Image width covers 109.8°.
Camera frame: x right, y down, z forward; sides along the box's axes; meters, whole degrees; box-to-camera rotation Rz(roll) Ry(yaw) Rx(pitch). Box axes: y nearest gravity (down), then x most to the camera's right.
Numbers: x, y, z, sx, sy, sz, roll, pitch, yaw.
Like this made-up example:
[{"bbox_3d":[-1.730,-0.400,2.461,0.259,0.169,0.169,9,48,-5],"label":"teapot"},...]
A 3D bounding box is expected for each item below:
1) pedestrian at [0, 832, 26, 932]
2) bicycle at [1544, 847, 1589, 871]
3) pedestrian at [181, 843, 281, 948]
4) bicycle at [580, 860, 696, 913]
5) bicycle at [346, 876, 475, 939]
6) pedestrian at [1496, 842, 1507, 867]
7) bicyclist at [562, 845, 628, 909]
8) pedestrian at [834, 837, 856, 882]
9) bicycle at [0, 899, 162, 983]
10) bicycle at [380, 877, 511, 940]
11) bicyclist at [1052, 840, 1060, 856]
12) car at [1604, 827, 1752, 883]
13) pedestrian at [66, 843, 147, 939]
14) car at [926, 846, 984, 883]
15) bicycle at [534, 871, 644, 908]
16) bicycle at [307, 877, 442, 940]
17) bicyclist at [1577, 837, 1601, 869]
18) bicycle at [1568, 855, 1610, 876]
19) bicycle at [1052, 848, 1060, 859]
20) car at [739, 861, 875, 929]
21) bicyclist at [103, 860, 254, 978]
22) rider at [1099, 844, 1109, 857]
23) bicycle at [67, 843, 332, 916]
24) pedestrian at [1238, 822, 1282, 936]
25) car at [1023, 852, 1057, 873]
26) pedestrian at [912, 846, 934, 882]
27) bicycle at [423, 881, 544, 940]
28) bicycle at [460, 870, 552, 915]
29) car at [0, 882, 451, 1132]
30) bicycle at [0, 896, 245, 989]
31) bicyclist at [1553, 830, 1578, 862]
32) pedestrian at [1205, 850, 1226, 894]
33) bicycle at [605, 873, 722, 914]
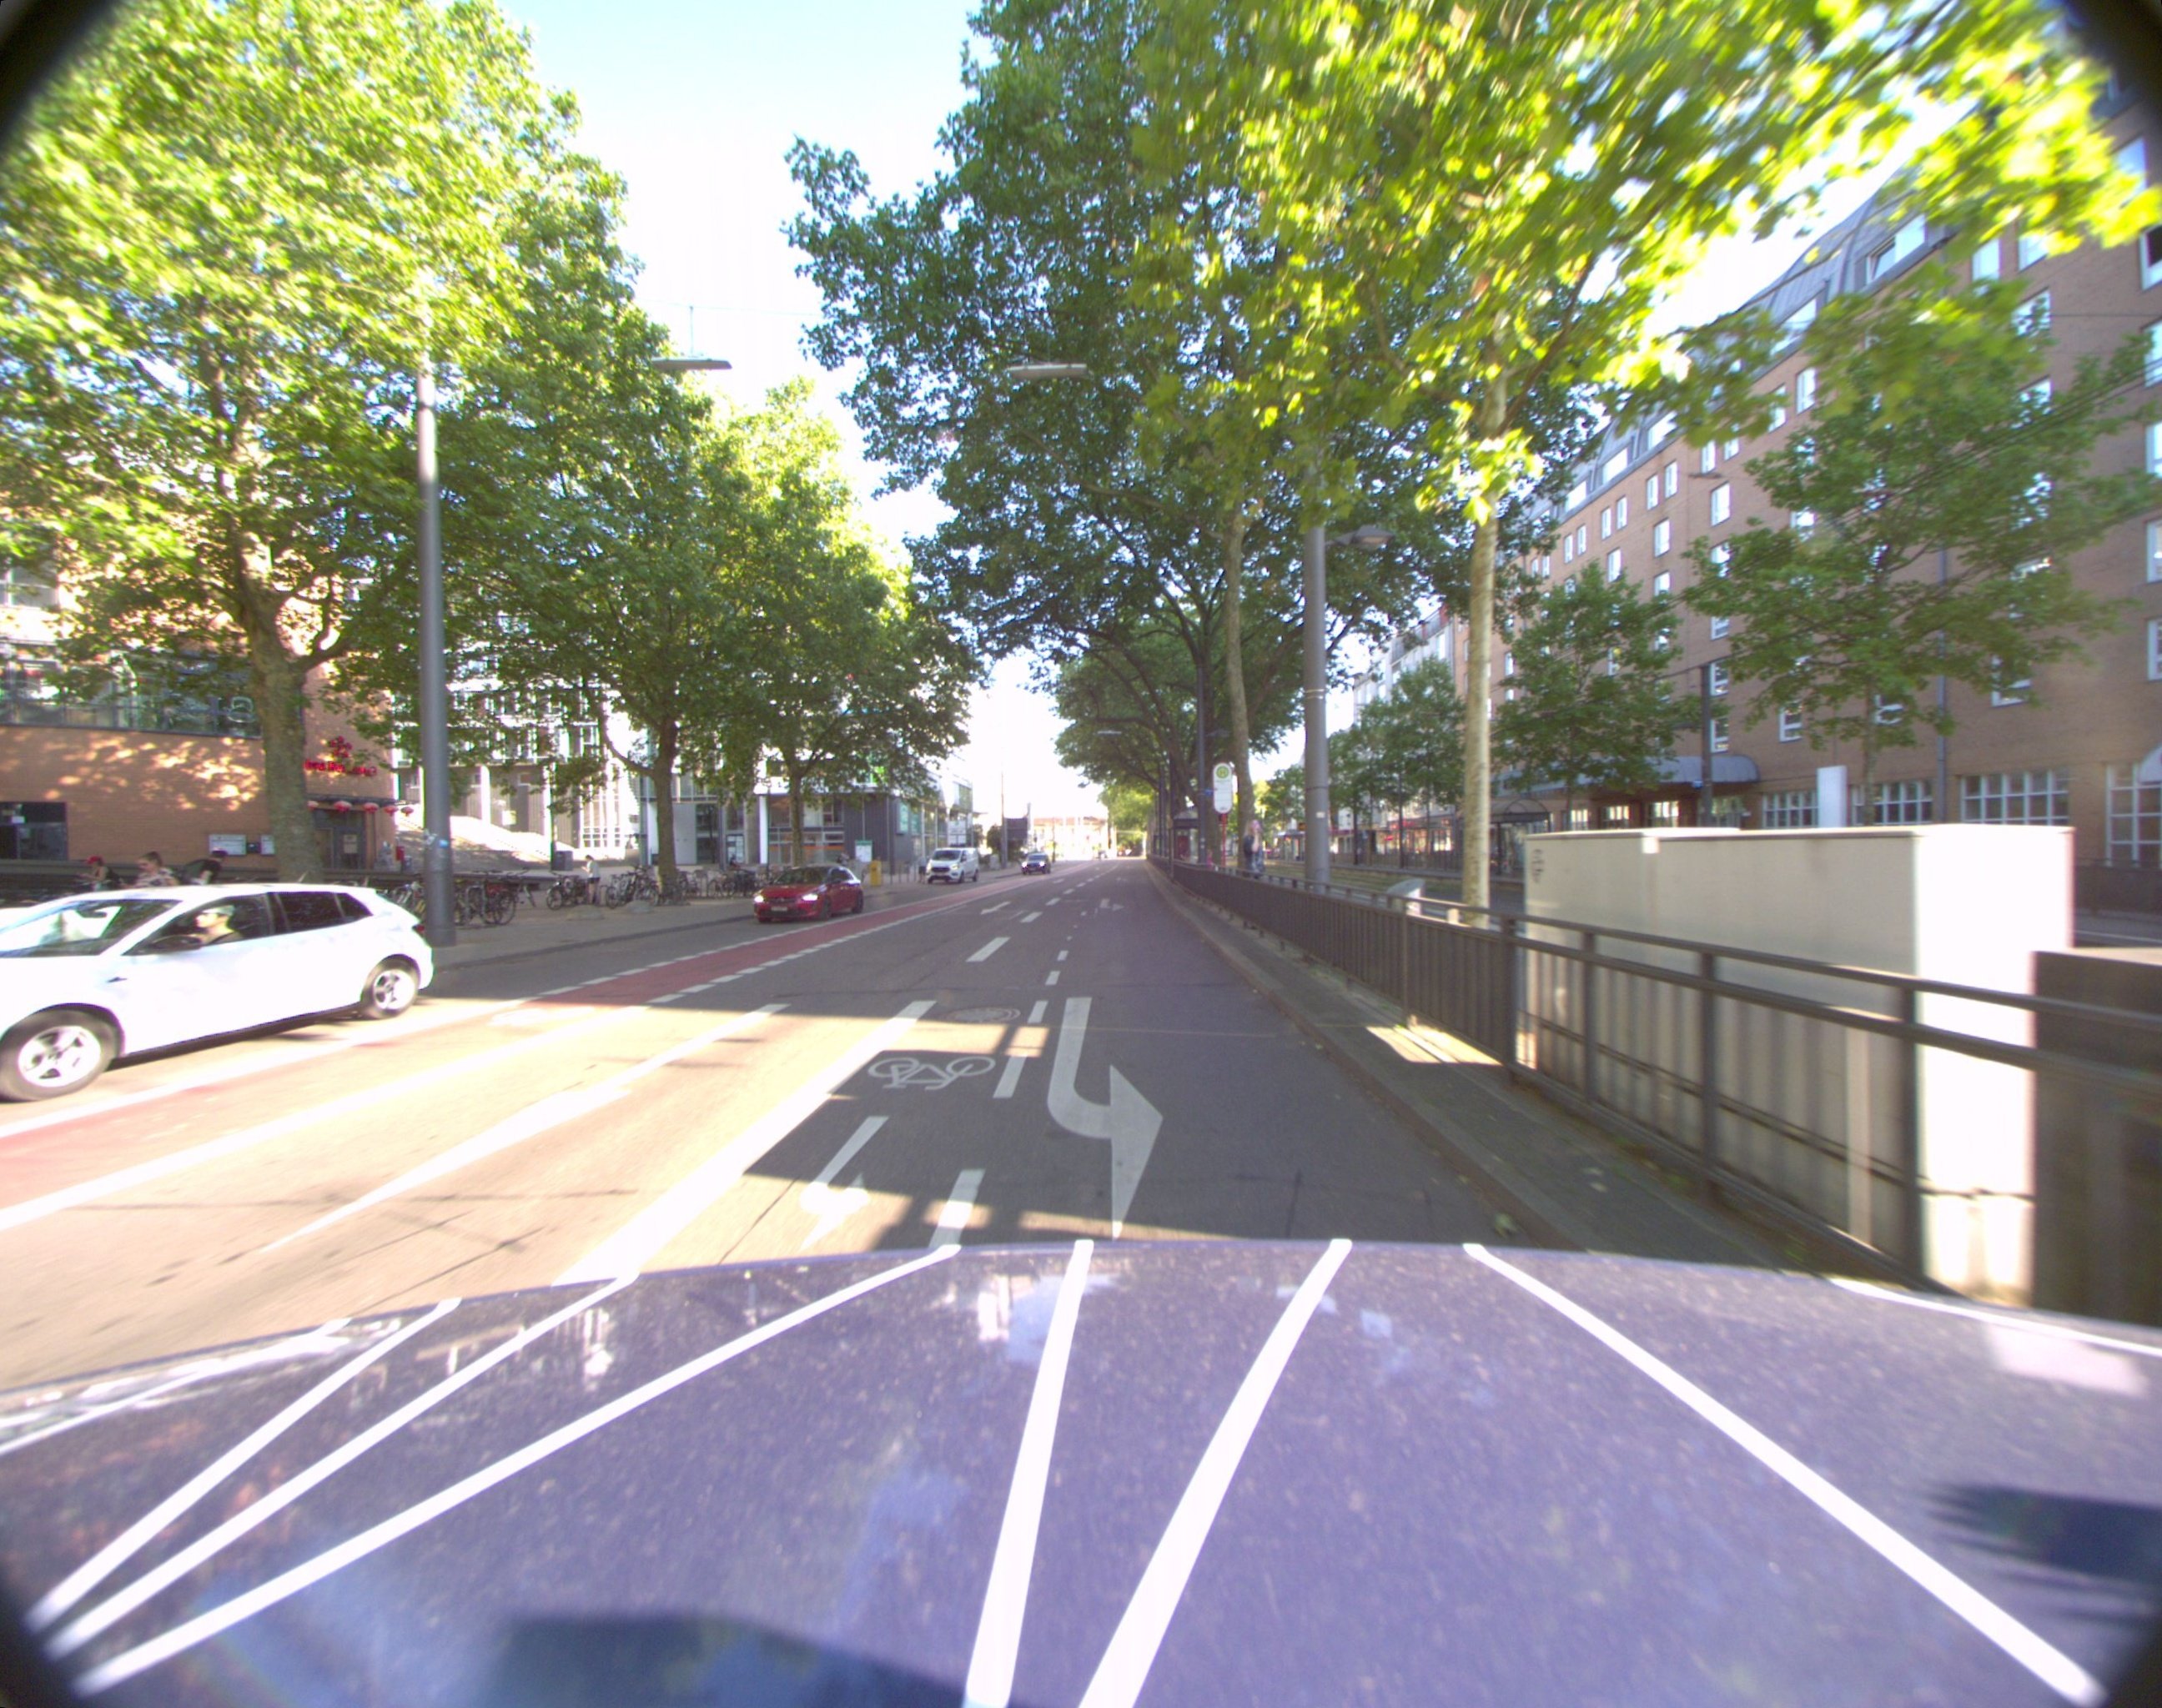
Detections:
[{"bbox_3d":[-24.789,0.649,17.004,1.048,2.235,1.221,-1,2,38],"label":"pedestrian"},{"bbox_3d":[23.838,0.259,37.379,0.687,1.135,2.110,-1,-1,-6],"label":"bicycle"},{"bbox_3d":[-16.966,0.786,15.205,0.934,2.002,1.091,-1,1,-25],"label":"pedestrian"},{"bbox_3d":[-13.886,0.963,23.975,0.892,1.476,3.228,-1,1,22],"label":"bicycle"},{"bbox_3d":[-14.697,1.138,16.763,0.671,1.155,2.305,-2,1,3],"label":"bicycle"},{"bbox_3d":[29.784,0.051,53.808,0.504,1.725,0.574,-1,1,3],"label":"pedestrian"},{"bbox_3d":[-15.823,0.729,24.755,1.296,2.002,1.158,-1,2,18],"label":"bicyclist"},{"bbox_3d":[-14.251,0.344,45.866,0.981,2.633,0.900,-3,2,-31],"label":"pedestrian"},{"bbox_3d":[-15.620,1.284,10.747,1.050,0.996,3.411,3,1,1],"label":"bicycle"},{"bbox_3d":[-13.924,1.149,16.775,0.751,1.155,2.397,-2,1,2],"label":"bicycle"},{"bbox_3d":[-3.309,-0.754,98.787,0.959,2.002,0.938,-2,2,-2],"label":"bicyclist"},{"bbox_3d":[20.653,0.008,26.523,1.873,1.752,3.998,-2,1,-3],"label":"car"},{"bbox_3d":[-23.313,0.871,18.190,0.842,2.220,0.905,-2,2,23],"label":"pedestrian"},{"bbox_3d":[-7.153,0.532,43.793,1.933,1.953,5.919,-2,1,3],"label":"car"},{"bbox_3d":[-16.080,1.138,24.841,3.327,1.078,1.149,0,1,18],"label":"bicycle"},{"bbox_3d":[-15.464,1.150,16.739,0.657,1.155,2.293,-2,1,4],"label":"bicycle"},{"bbox_3d":[24.923,-0.048,37.296,0.662,1.565,0.758,-1,1,-6],"label":"bicyclist"},{"bbox_3d":[24.837,0.546,37.182,0.655,0.993,1.900,-1,1,-6],"label":"bicycle"},{"bbox_3d":[-3.251,-0.048,98.781,0.951,1.460,2.704,-1,1,-2],"label":"bicycle"},{"bbox_3d":[-7.175,1.008,20.425,1.835,1.481,4.196,-3,0,4],"label":"car"},{"bbox_3d":[-13.329,0.924,11.264,0.903,1.611,1.023,-2,1,1],"label":"bicyclist"},{"bbox_3d":[3.770,-0.513,122.979,1.242,2.002,1.229,-2,2,20],"label":"rider"},{"bbox_3d":[-13.337,0.330,11.693,0.925,0.943,2.637,-2,1,1],"label":"bicycle"},{"bbox_3d":[2.951,0.403,12.539,0.543,1.823,0.524,-3,2,2],"label":"pedestrian"},{"bbox_3d":[-3.265,0.648,61.641,1.784,1.481,4.198,-3,0,10],"label":"car"},{"bbox_3d":[-8.903,0.562,42.849,0.814,2.002,0.979,-2,0,11],"label":"pedestrian"},{"bbox_3d":[-12.990,1.189,16.625,0.682,1.054,2.337,-1,1,3],"label":"bicycle"},{"bbox_3d":[-17.685,1.143,23.464,0.699,1.193,2.700,-2,1,1],"label":"bicycle"},{"bbox_3d":[-8.075,1.102,6.512,1.836,1.481,4.194,-2,1,-1],"label":"car"},{"bbox_3d":[-14.628,1.259,11.061,1.050,0.996,3.411,-2,1,1],"label":"bicycle"},{"bbox_3d":[23.825,-0.388,37.399,0.684,1.550,0.758,-1,-1,-6],"label":"bicyclist"},{"bbox_3d":[4.098,0.551,23.157,0.542,1.310,0.524,-2,2,13],"label":"pedestrian"},{"bbox_3d":[-12.817,1.181,23.525,0.975,1.020,3.208,-2,1,23],"label":"bicycle"}]
